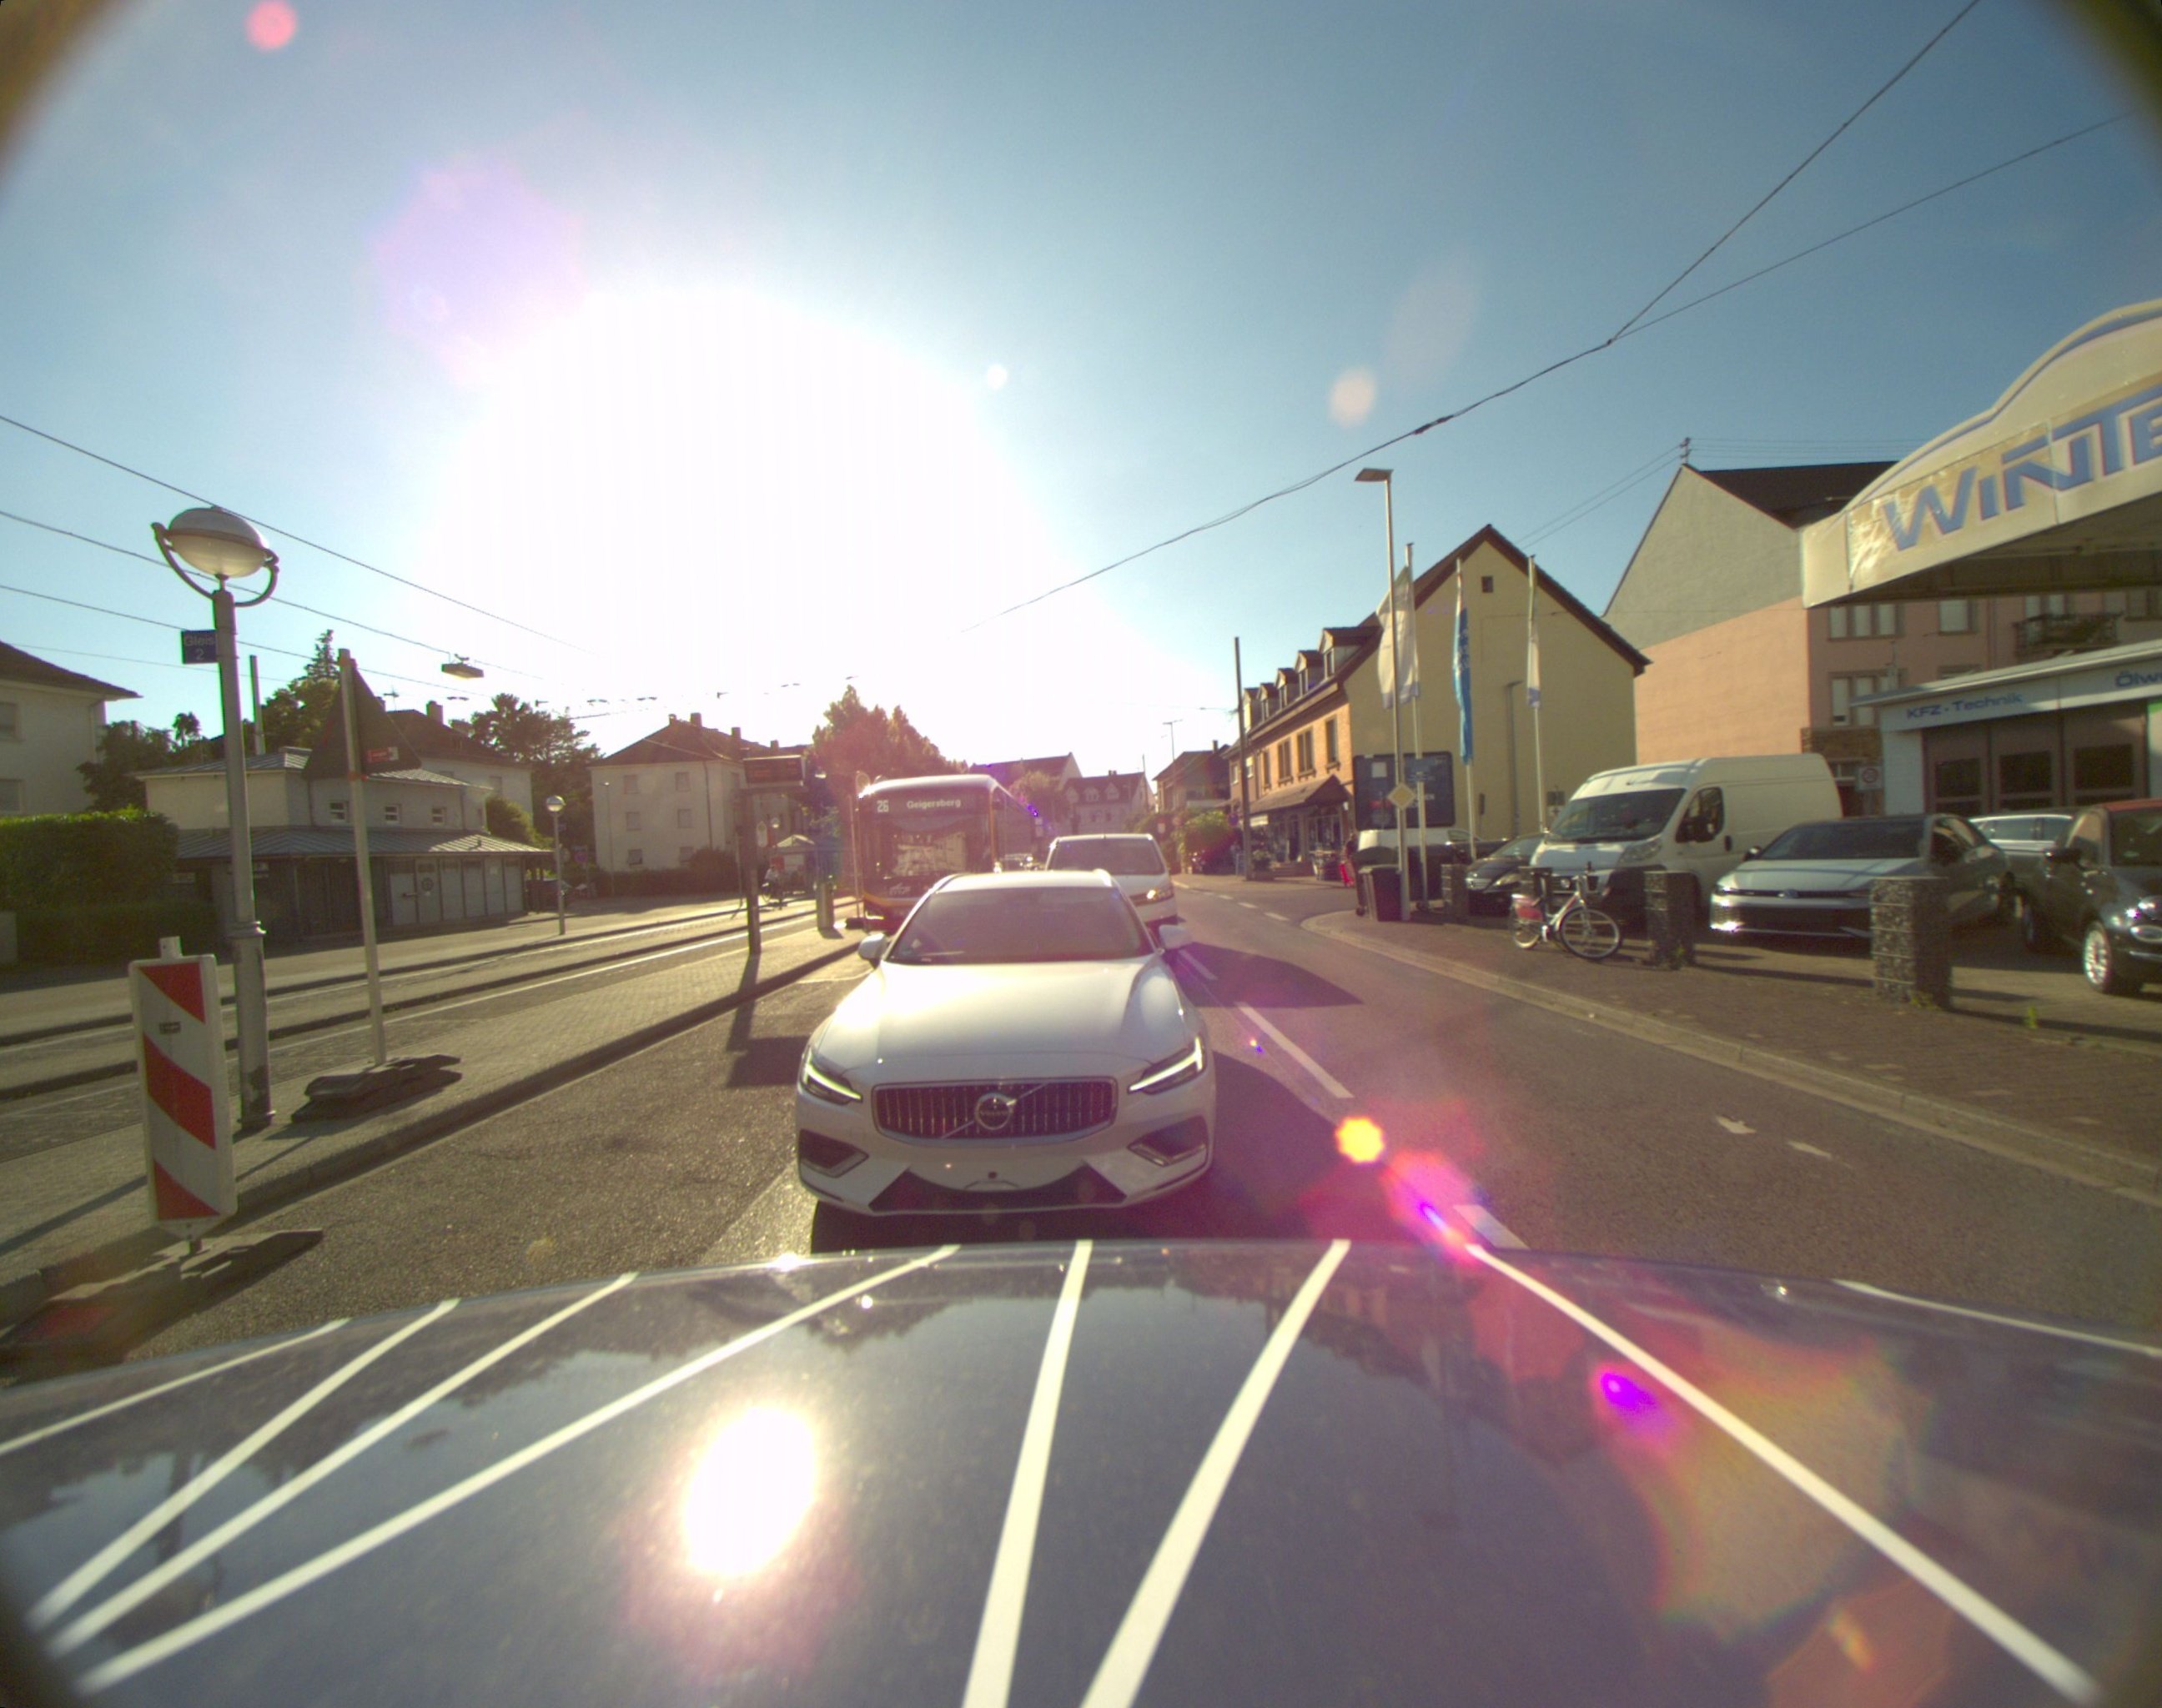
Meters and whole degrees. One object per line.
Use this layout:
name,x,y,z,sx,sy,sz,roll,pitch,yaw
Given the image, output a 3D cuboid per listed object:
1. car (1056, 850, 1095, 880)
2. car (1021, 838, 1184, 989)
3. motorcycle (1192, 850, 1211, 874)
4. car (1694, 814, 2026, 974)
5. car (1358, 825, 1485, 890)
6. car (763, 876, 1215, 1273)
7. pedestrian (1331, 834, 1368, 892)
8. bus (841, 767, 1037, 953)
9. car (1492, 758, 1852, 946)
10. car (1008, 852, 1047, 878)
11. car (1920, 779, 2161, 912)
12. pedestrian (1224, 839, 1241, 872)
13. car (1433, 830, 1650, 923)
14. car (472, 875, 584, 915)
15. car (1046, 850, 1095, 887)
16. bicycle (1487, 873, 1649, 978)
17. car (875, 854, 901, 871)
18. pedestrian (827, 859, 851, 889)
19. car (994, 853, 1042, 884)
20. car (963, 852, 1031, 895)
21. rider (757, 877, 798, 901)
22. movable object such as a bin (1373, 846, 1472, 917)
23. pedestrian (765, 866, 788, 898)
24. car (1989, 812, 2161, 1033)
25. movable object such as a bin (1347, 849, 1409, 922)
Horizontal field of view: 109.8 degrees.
car,-0.252,0.565,41.509,1.969,1.450,4.824,-2,0,1
car,0.304,0.733,12.011,1.969,1.816,5.033,-2,0,1
motorcycle,6.354,0.416,40.121,0.708,1.210,2.186,-2,1,3
car,9.491,0.359,9.213,4.036,1.488,1.739,-3,1,-28
car,11.566,0.097,25.924,3.672,2.002,1.451,-2,1,-3
car,-0.352,0.982,5.258,1.821,1.446,4.217,-2,0,1
pedestrian,8.833,0.288,24.974,0.824,1.842,0.765,-3,1,-37
bus,-2.918,0.094,19.834,2.748,3.284,12.030,-2,0,0
car,9.144,-0.134,11.762,4.997,2.440,2.111,-3,1,-22
car,-3.271,0.629,47.305,1.969,1.450,4.824,-2,0,1
car,16.482,-0.173,11.989,1.742,1.933,4.257,-3,1,-1
pedestrian,7.951,0.061,39.872,0.809,1.703,0.860,-2,1,9
car,8.968,0.374,14.748,4.036,1.469,1.739,-3,1,-28
car,-27.687,2.045,38.139,4.052,1.663,2.000,-4,1,2
car,-0.391,0.582,33.262,1.969,1.450,4.824,-2,0,1
bicycle,5.883,0.814,9.315,0.725,1.080,1.791,-3,1,-3
car,-23.261,1.014,91.773,1.998,1.853,3.999,-2,1,1
pedestrian,-13.325,1.105,41.884,0.823,1.601,0.844,-1,1,33
car,-3.228,0.704,39.890,1.969,1.450,4.824,-2,0,1
car,-3.151,0.704,29.501,1.969,1.450,4.824,-2,0,1
rider,-13.571,1.569,33.919,1.853,0.986,0.581,-2,1,27
movable object such as a bin,7.594,0.578,16.915,1.798,1.456,1.046,-3,1,-25
pedestrian,-13.577,1.253,33.903,0.657,1.373,0.581,-2,1,27
car,9.077,0.412,6.166,1.590,1.488,3.442,-2,1,40
movable object such as a bin,6.237,0.641,15.952,1.045,1.456,0.797,-2,1,32
